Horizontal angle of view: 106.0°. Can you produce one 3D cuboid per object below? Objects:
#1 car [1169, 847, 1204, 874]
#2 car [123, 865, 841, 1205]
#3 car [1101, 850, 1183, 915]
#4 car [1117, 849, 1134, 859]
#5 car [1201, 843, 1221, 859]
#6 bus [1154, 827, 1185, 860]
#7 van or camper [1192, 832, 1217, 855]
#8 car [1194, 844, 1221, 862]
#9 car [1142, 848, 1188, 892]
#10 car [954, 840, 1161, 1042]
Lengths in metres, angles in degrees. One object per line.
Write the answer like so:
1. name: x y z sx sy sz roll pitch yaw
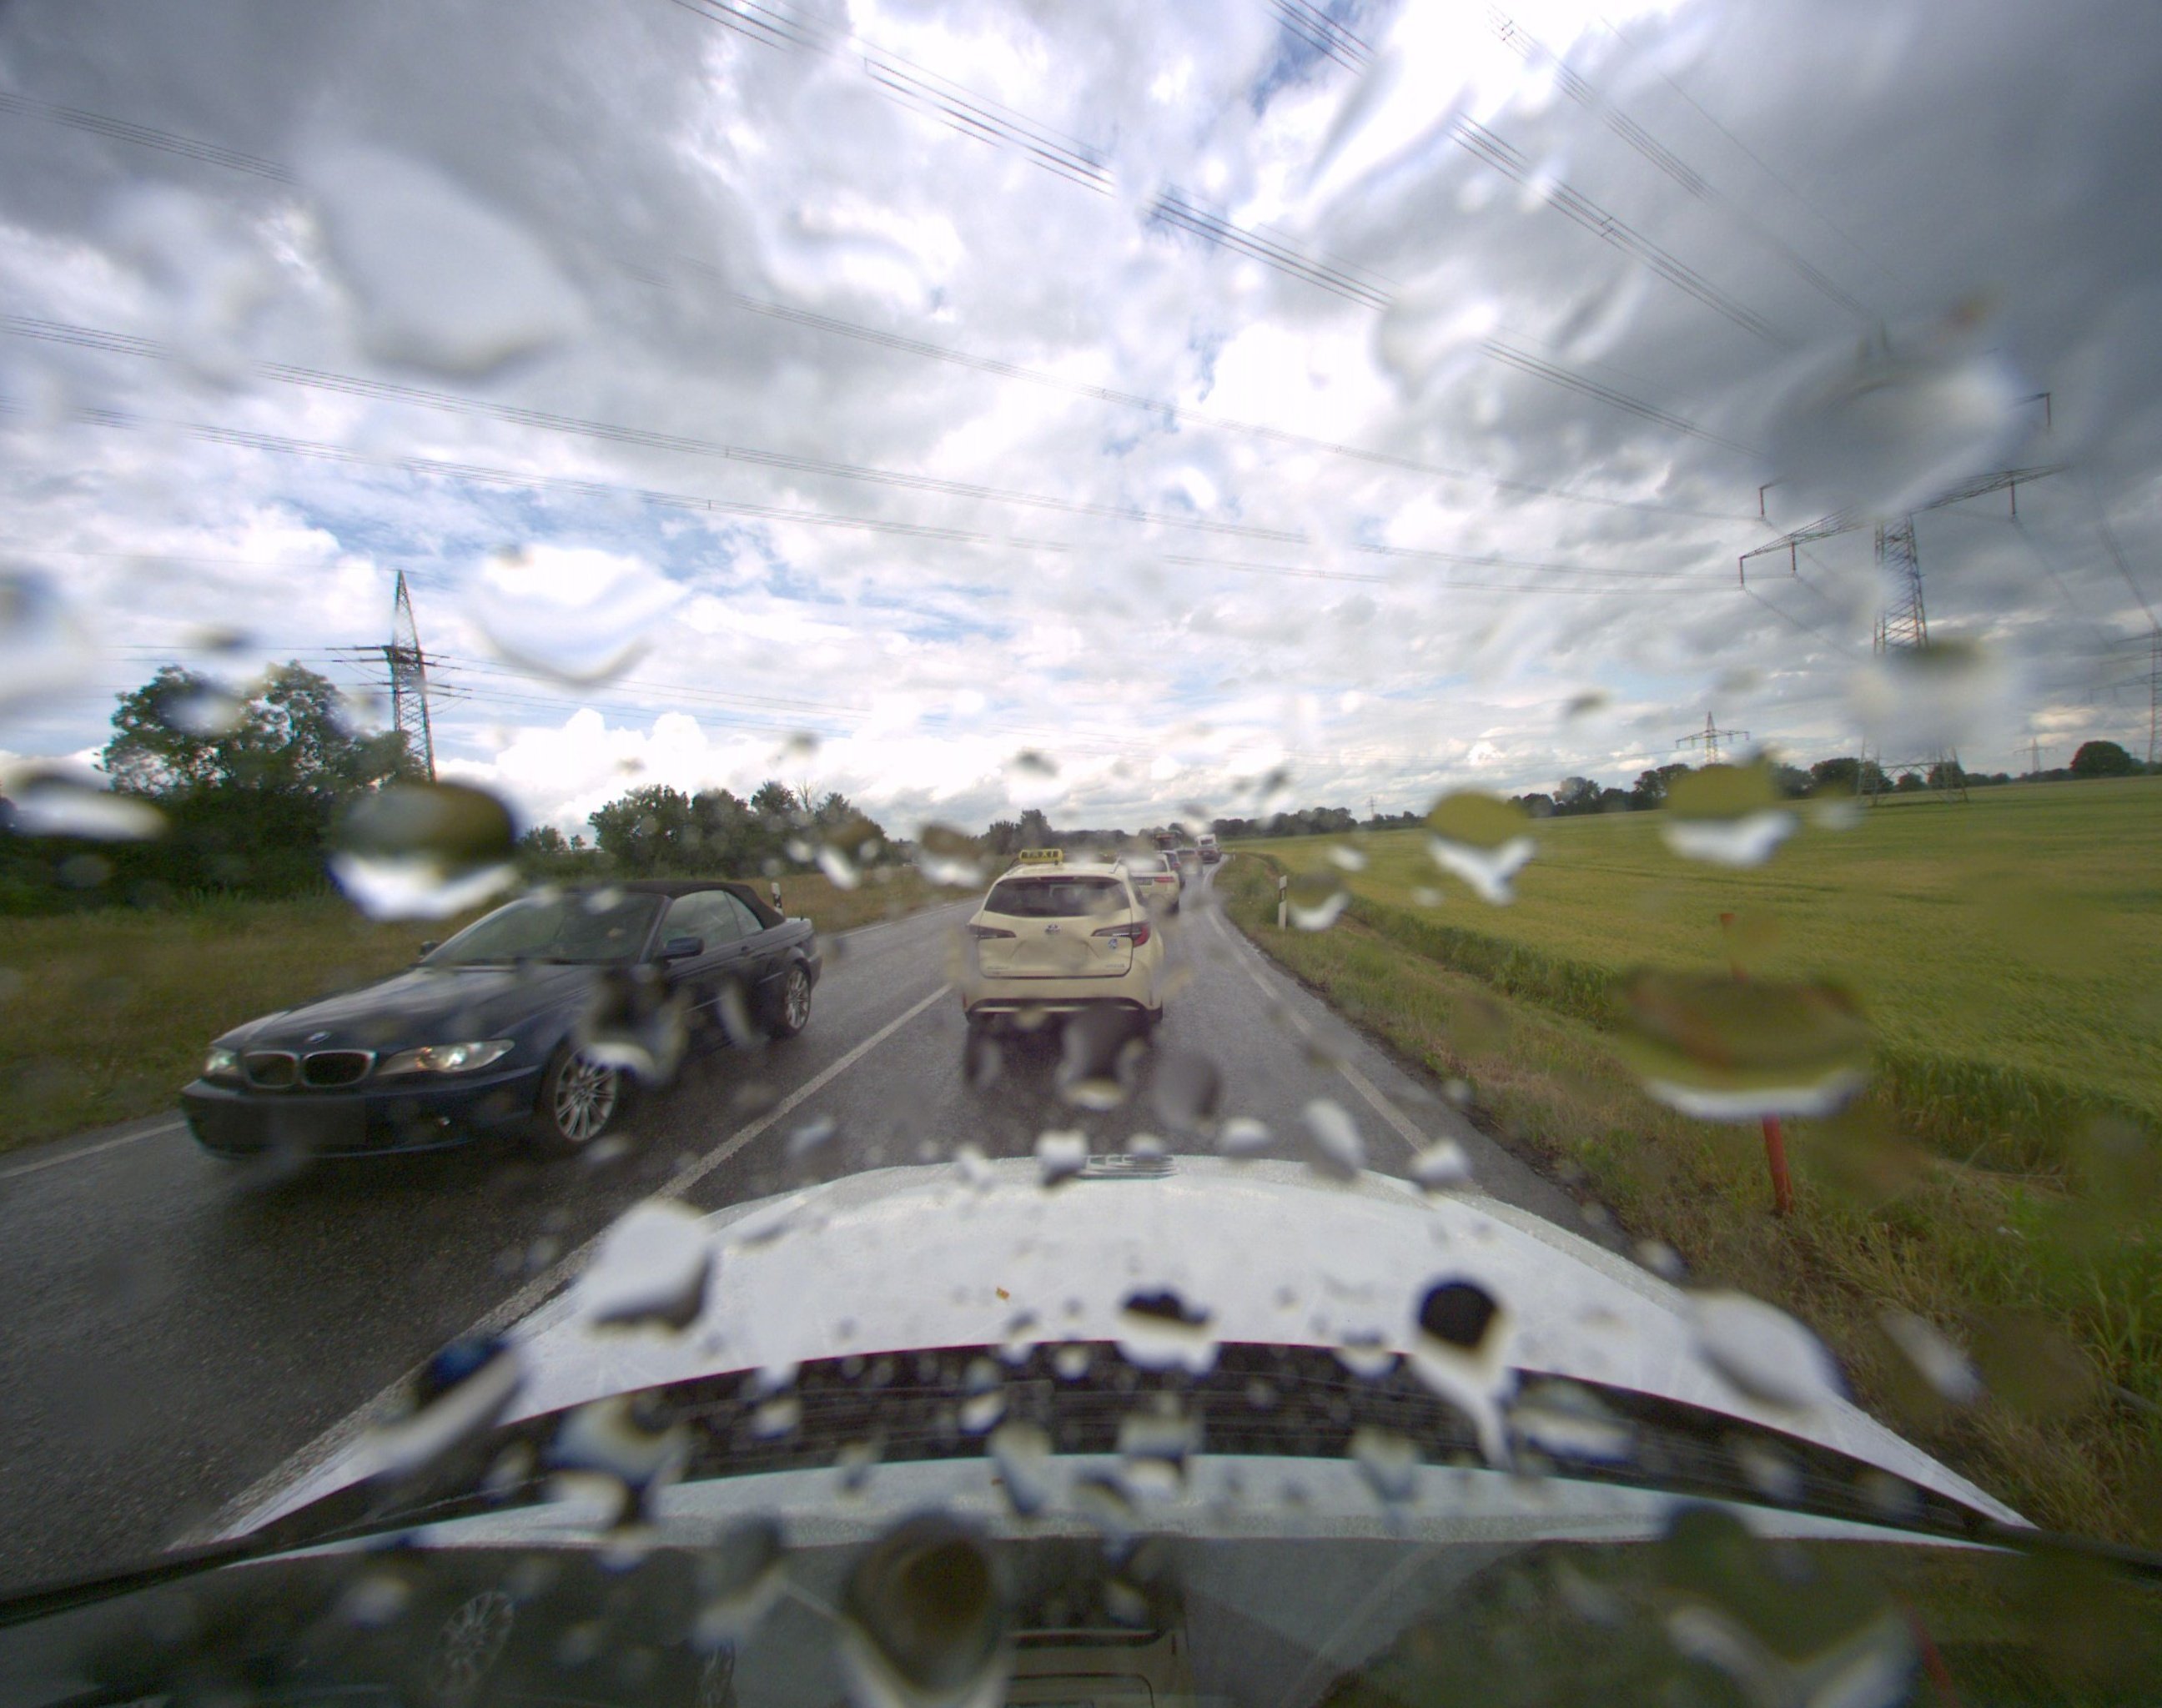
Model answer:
1. car: 5.902 0.377 45.113 1.602 1.413 3.750 -1 -1 12
2. car: -3.304 0.836 5.753 1.622 1.396 4.325 -1 0 4
3. car: 1.704 0.649 21.281 1.831 1.492 4.618 -1 0 8
4. car: 8.545 0.066 155.628 1.888 1.773 4.135 0 -1 -17
5. car: 14.304 -0.330 89.975 1.950 1.729 3.744 -1 -1 6
6. bus: 9.649 -1.071 87.615 2.742 3.297 12.533 -1 0 9
7. van or camper: 15.929 -1.349 105.451 2.526 2.896 6.749 -1 0 3
8. car: 10.420 -0.049 66.957 1.947 1.413 4.406 -1 -1 12
9. car: 3.508 0.644 33.471 1.603 1.659 3.748 -1 -1 10
10. car: -0.027 0.710 8.227 1.605 1.562 3.743 -1 -1 5
